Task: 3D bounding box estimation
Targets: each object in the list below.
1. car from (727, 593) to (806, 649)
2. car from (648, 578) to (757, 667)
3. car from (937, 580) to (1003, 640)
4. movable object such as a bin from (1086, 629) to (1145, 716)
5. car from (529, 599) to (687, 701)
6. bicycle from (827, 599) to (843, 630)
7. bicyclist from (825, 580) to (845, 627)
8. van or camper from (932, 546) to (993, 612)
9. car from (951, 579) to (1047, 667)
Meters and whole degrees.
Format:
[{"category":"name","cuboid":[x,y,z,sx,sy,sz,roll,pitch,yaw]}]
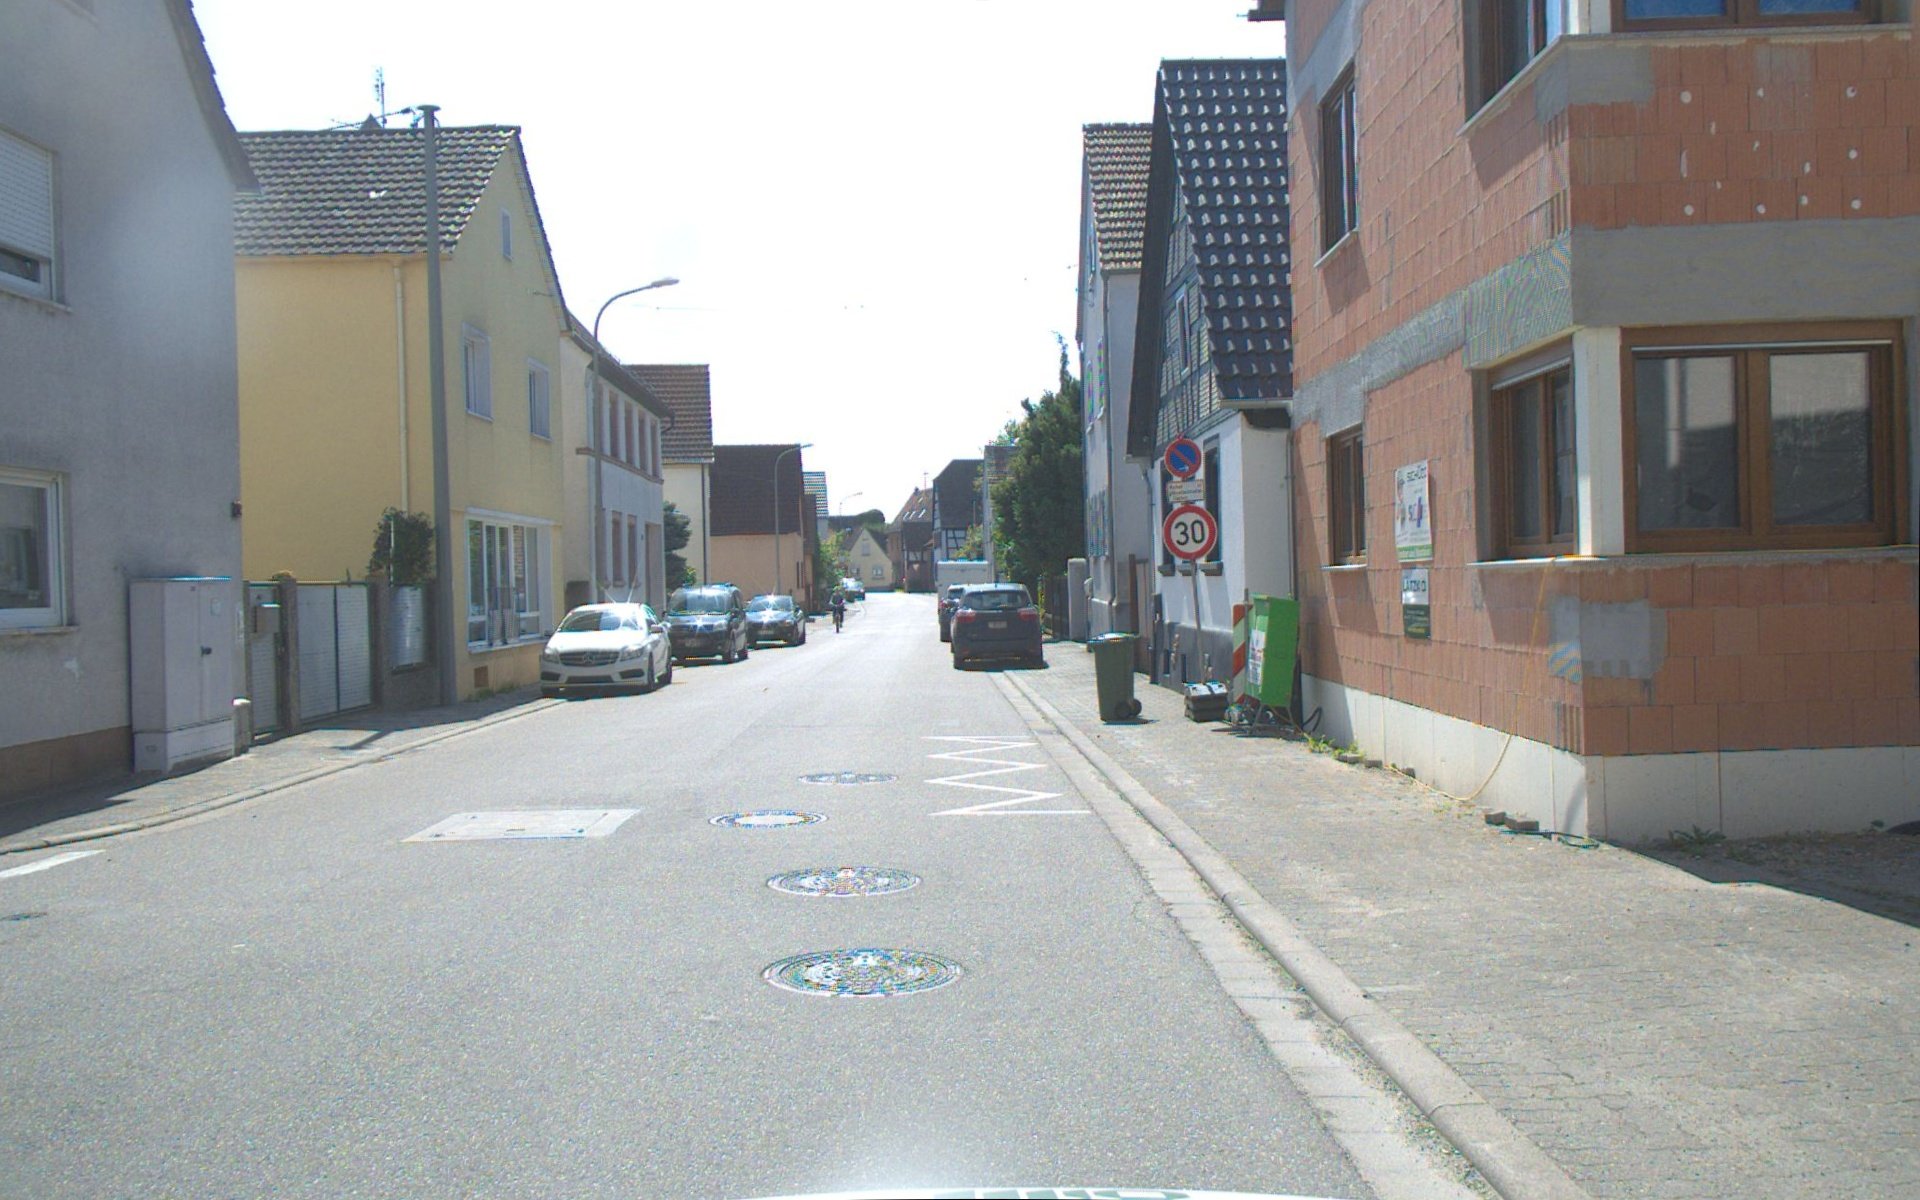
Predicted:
[{"category":"car","cuboid":[-5.945,0.605,51.285,1.807,1.553,4.765,-3,1,0]},{"category":"car","cuboid":[-6.048,0.468,39.318,1.797,1.869,4.353,-4,1,0]},{"category":"car","cuboid":[0.355,0.272,50.181,1.756,1.659,4.362,-3,1,3]},{"category":"movable object such as a bin","cuboid":[1.768,0.813,18.746,0.526,0.929,0.552,-3,1,16]},{"category":"car","cuboid":[-5.880,0.783,28.109,1.797,1.489,4.270,-2,1,-1]},{"category":"bicycle","cuboid":[-4.913,0.560,65.034,0.578,1.168,1.947,-4,1,-4]},{"category":"bicyclist","cuboid":[-4.916,0.135,65.035,0.690,1.801,0.624,-3,0,-5]},{"category":"van or camper","cuboid":[0.058,-0.926,74.365,2.471,2.743,4.554,-3,1,-2]},{"category":"car","cuboid":[0.746,0.414,33.895,1.761,1.587,4.631,-3,1,0]}]
